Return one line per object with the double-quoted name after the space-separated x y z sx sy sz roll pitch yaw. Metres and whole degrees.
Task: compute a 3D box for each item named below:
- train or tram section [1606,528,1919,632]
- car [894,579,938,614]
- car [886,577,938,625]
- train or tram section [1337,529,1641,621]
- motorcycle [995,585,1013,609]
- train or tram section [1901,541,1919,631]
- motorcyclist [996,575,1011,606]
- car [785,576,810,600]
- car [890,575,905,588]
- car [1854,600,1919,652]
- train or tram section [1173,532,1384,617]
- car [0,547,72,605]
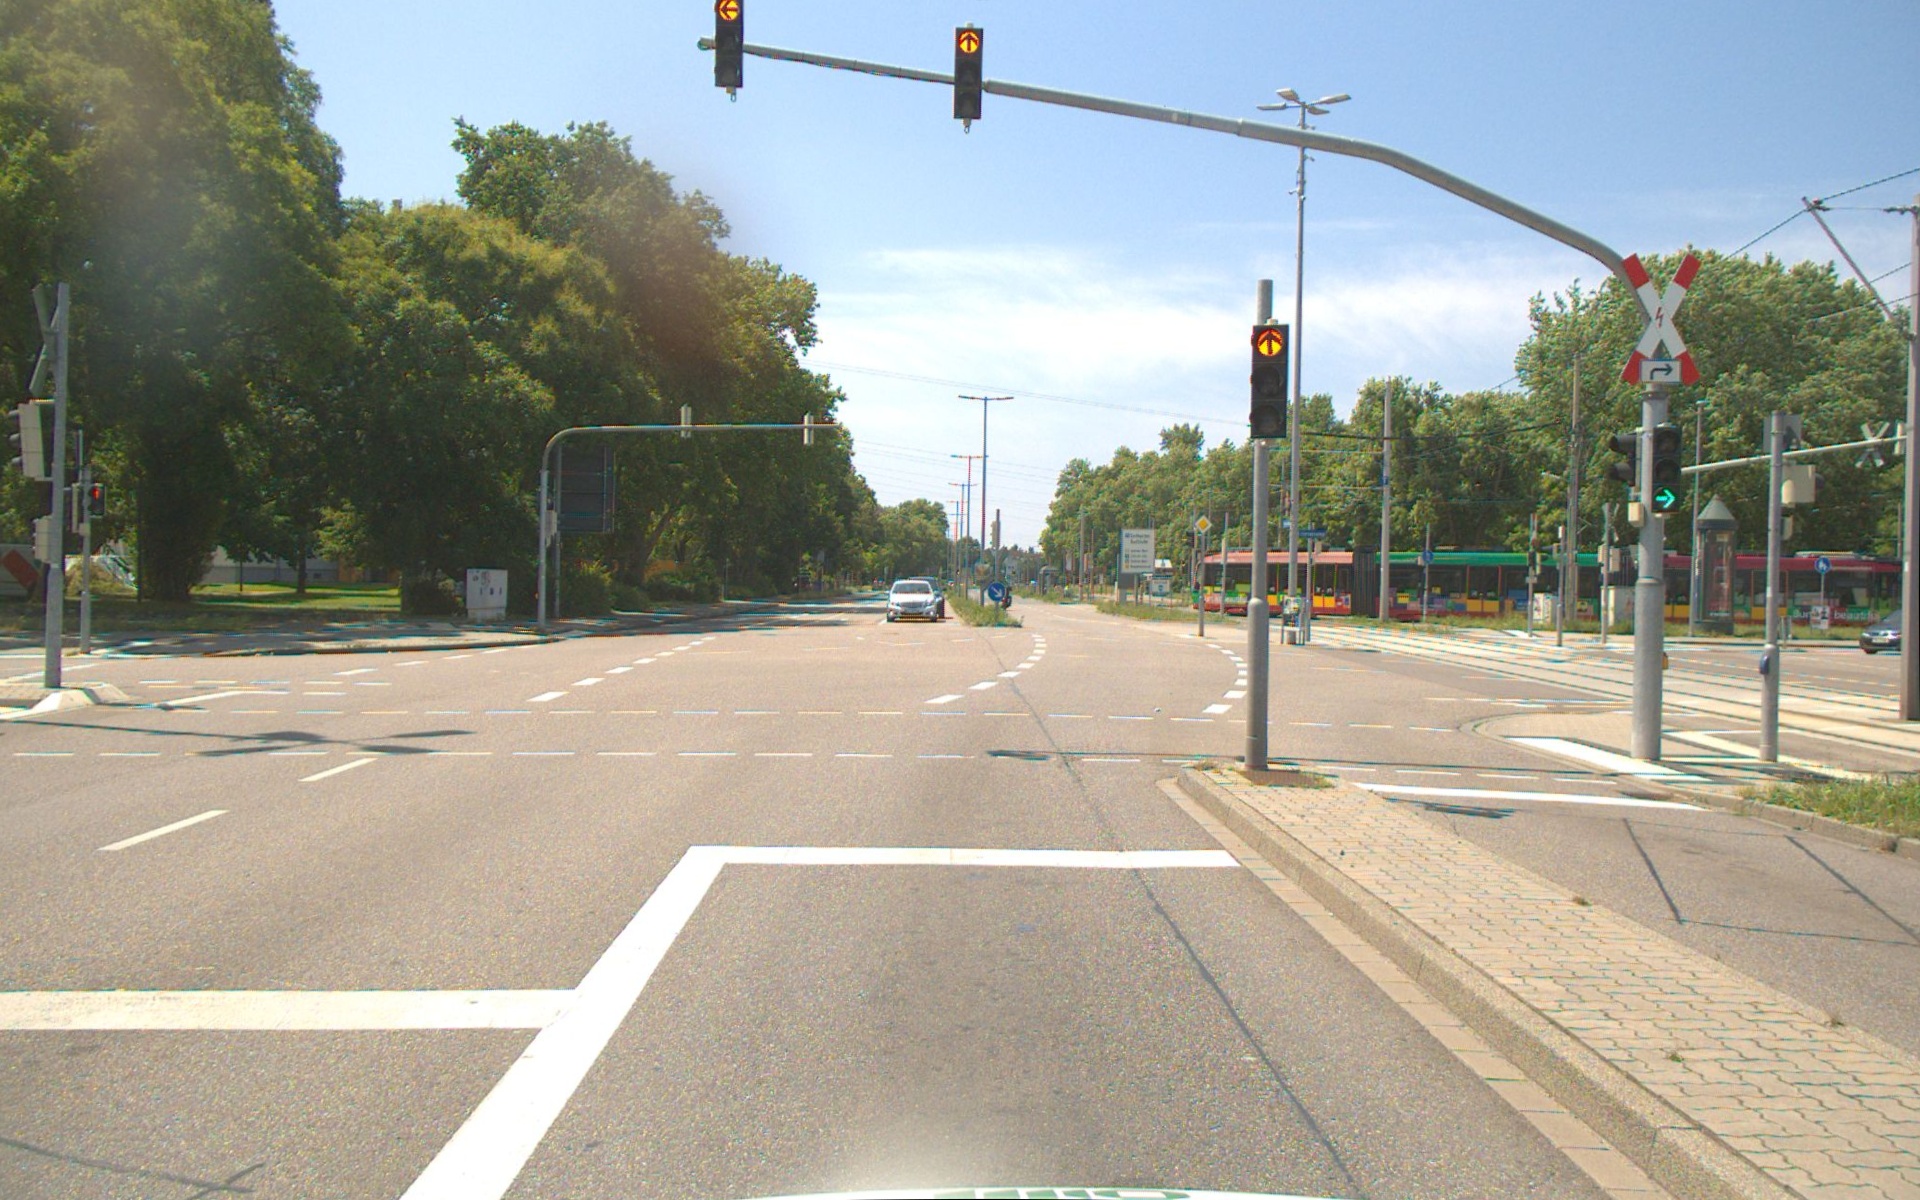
36.145 -0.850 73.210 13.701 3.988 2.925 2 -2 6 "train or tram section"
-1.755 -0.164 67.307 1.675 1.389 3.865 1 1 0 "car"
-1.712 0.005 59.970 1.748 1.657 3.865 1 1 0 "car"
24.376 -1.154 76.970 13.179 3.878 2.914 1 -3 34 "train or tram section"
2.397 -0.188 90.979 0.830 1.277 2.448 2 0 -1 "motorcycle"
48.934 -0.310 76.211 13.762 3.988 2.896 3 -3 -29 "train or tram section"
2.391 -0.521 90.986 0.774 1.671 1.211 2 0 0 "motorcyclist"
-14.743 -1.100 150.396 1.954 2.048 3.997 4 0 -4 "car"
-7.606 -2.300 201.279 1.637 1.516 3.710 1 1 0 "car"
29.018 0.771 50.422 3.464 1.488 1.622 0 1 -33 "car"
16.207 -1.154 85.758 2.884 3.878 12.937 3 -3 -31 "train or tram section"
-30.688 -0.758 52.068 1.758 1.799 4.526 1 1 39 "car"
